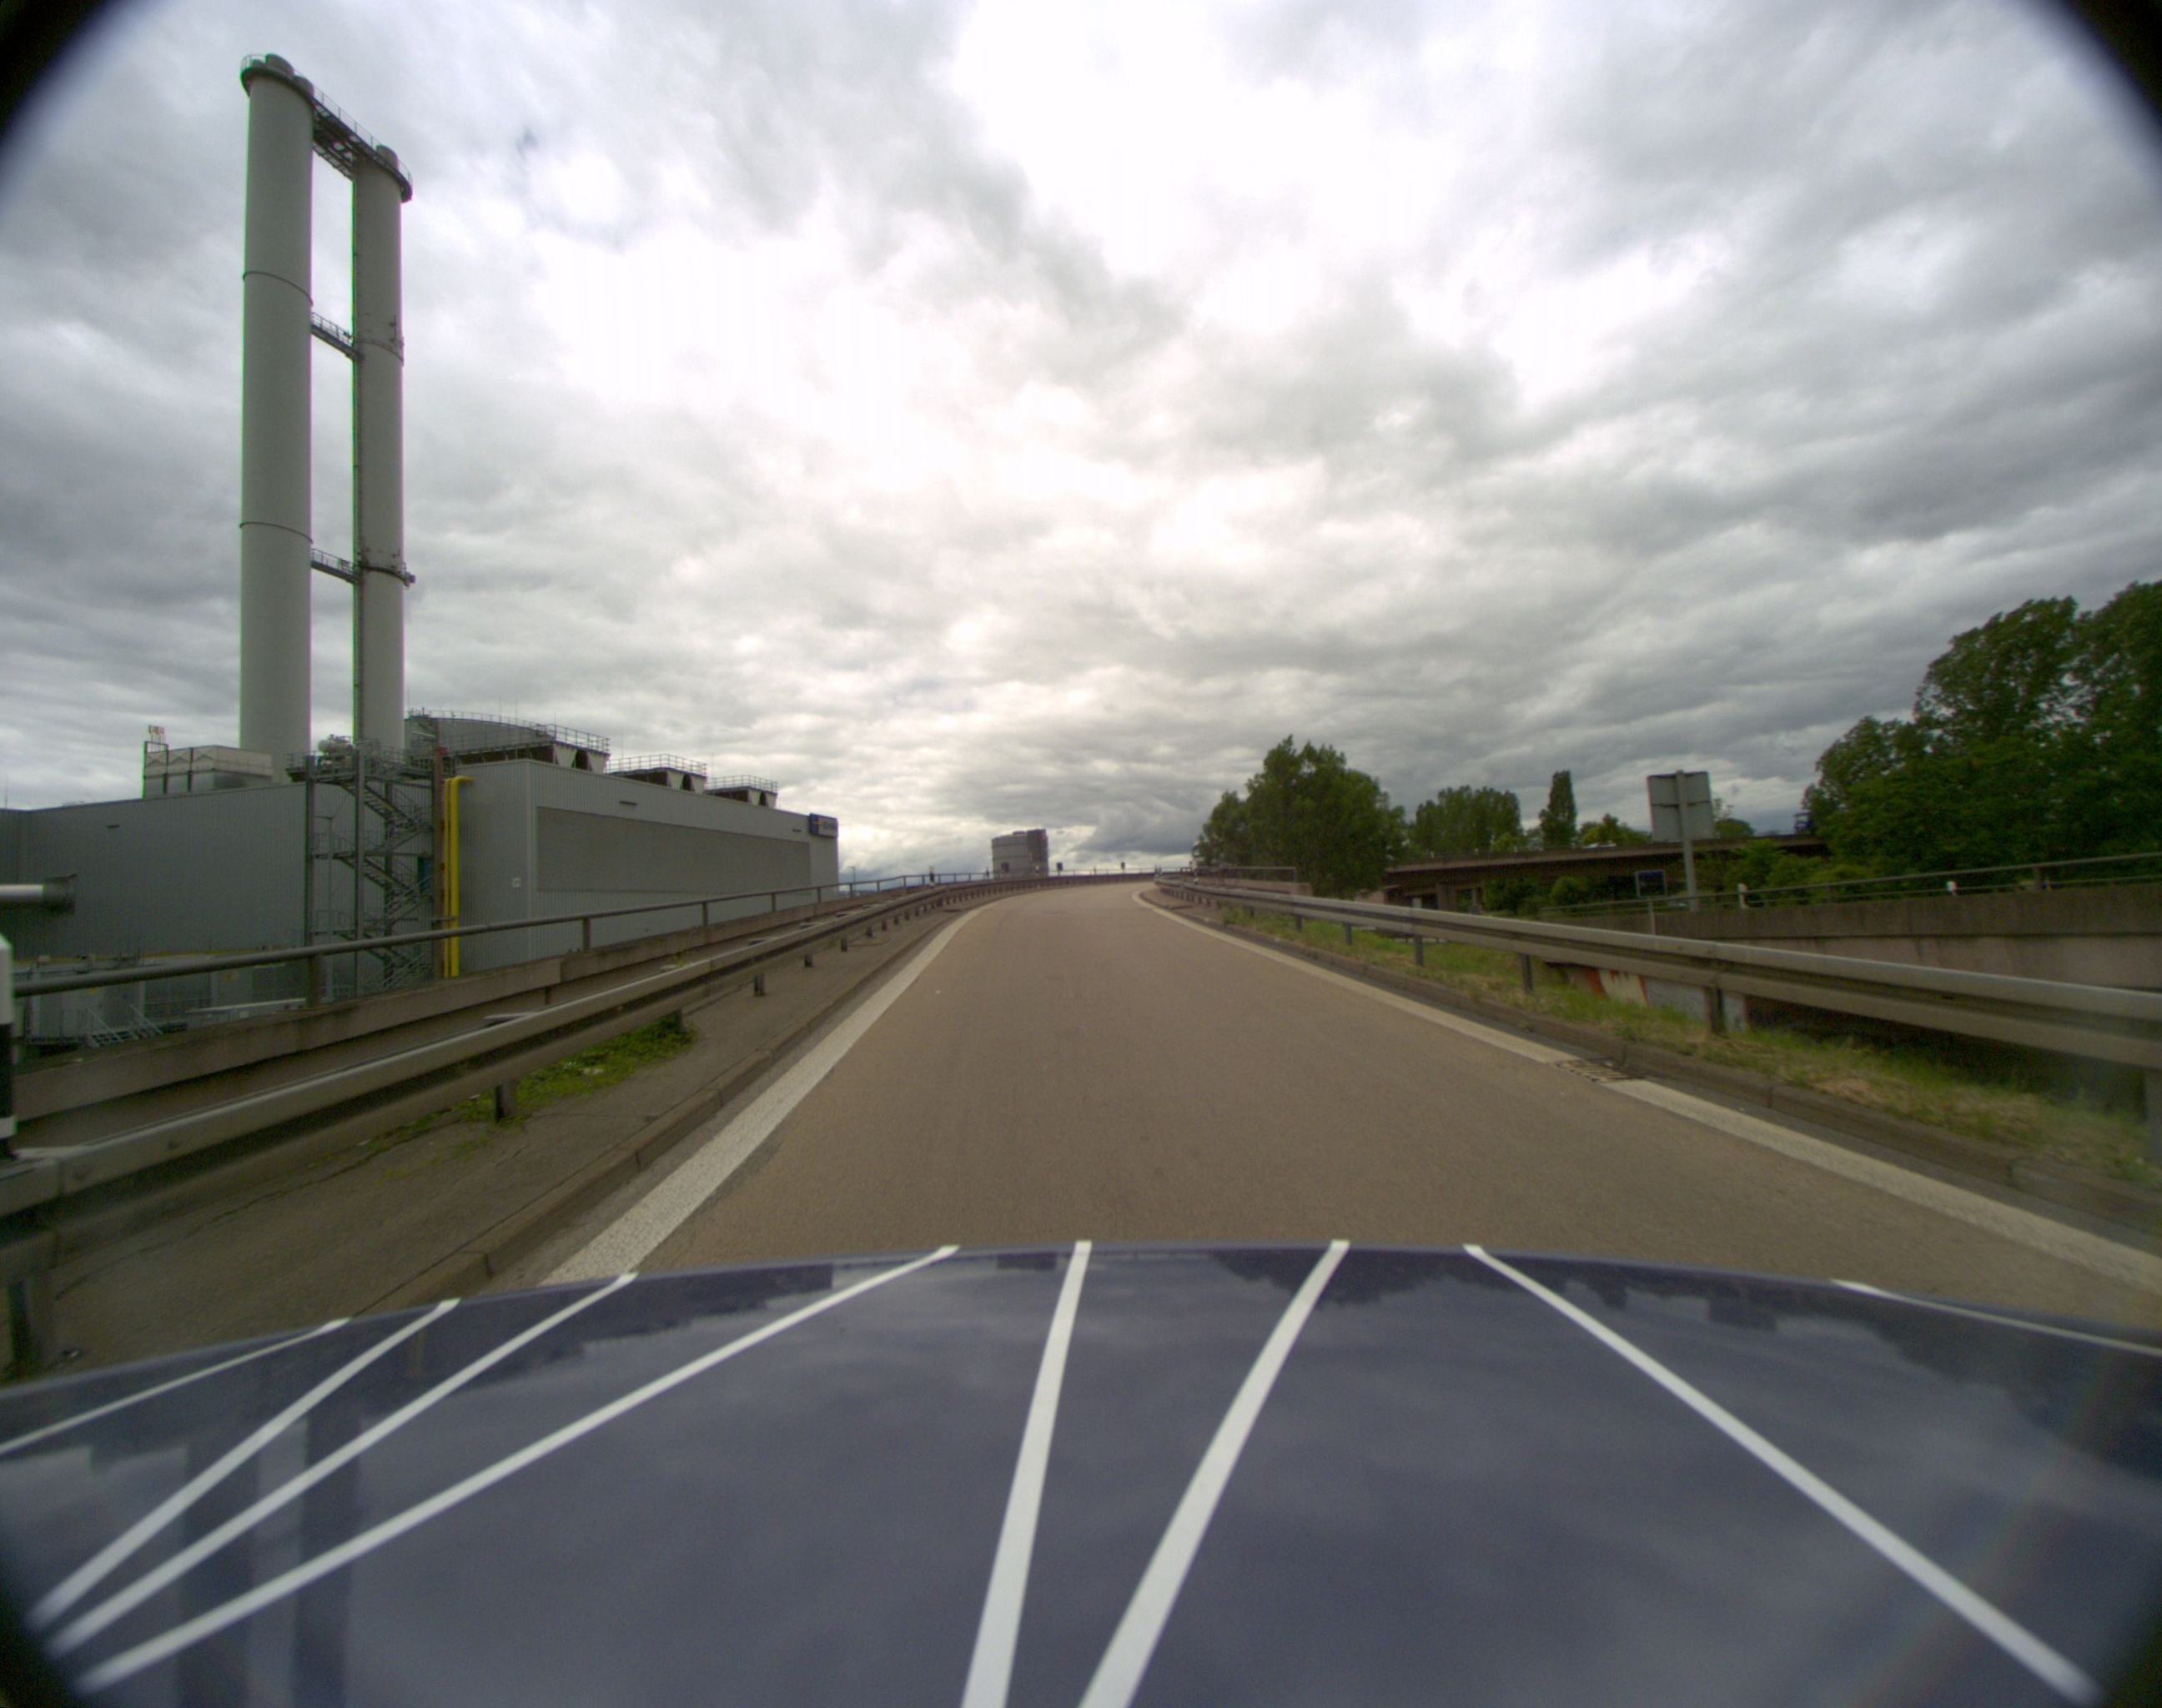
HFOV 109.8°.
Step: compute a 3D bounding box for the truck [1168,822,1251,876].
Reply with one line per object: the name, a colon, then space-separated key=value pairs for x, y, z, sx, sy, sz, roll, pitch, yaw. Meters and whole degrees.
truck: x=11.394 y=-0.419 z=67.168 sx=5.977 sy=4.276 sz=4.158 roll=-1 pitch=-4 yaw=-44
